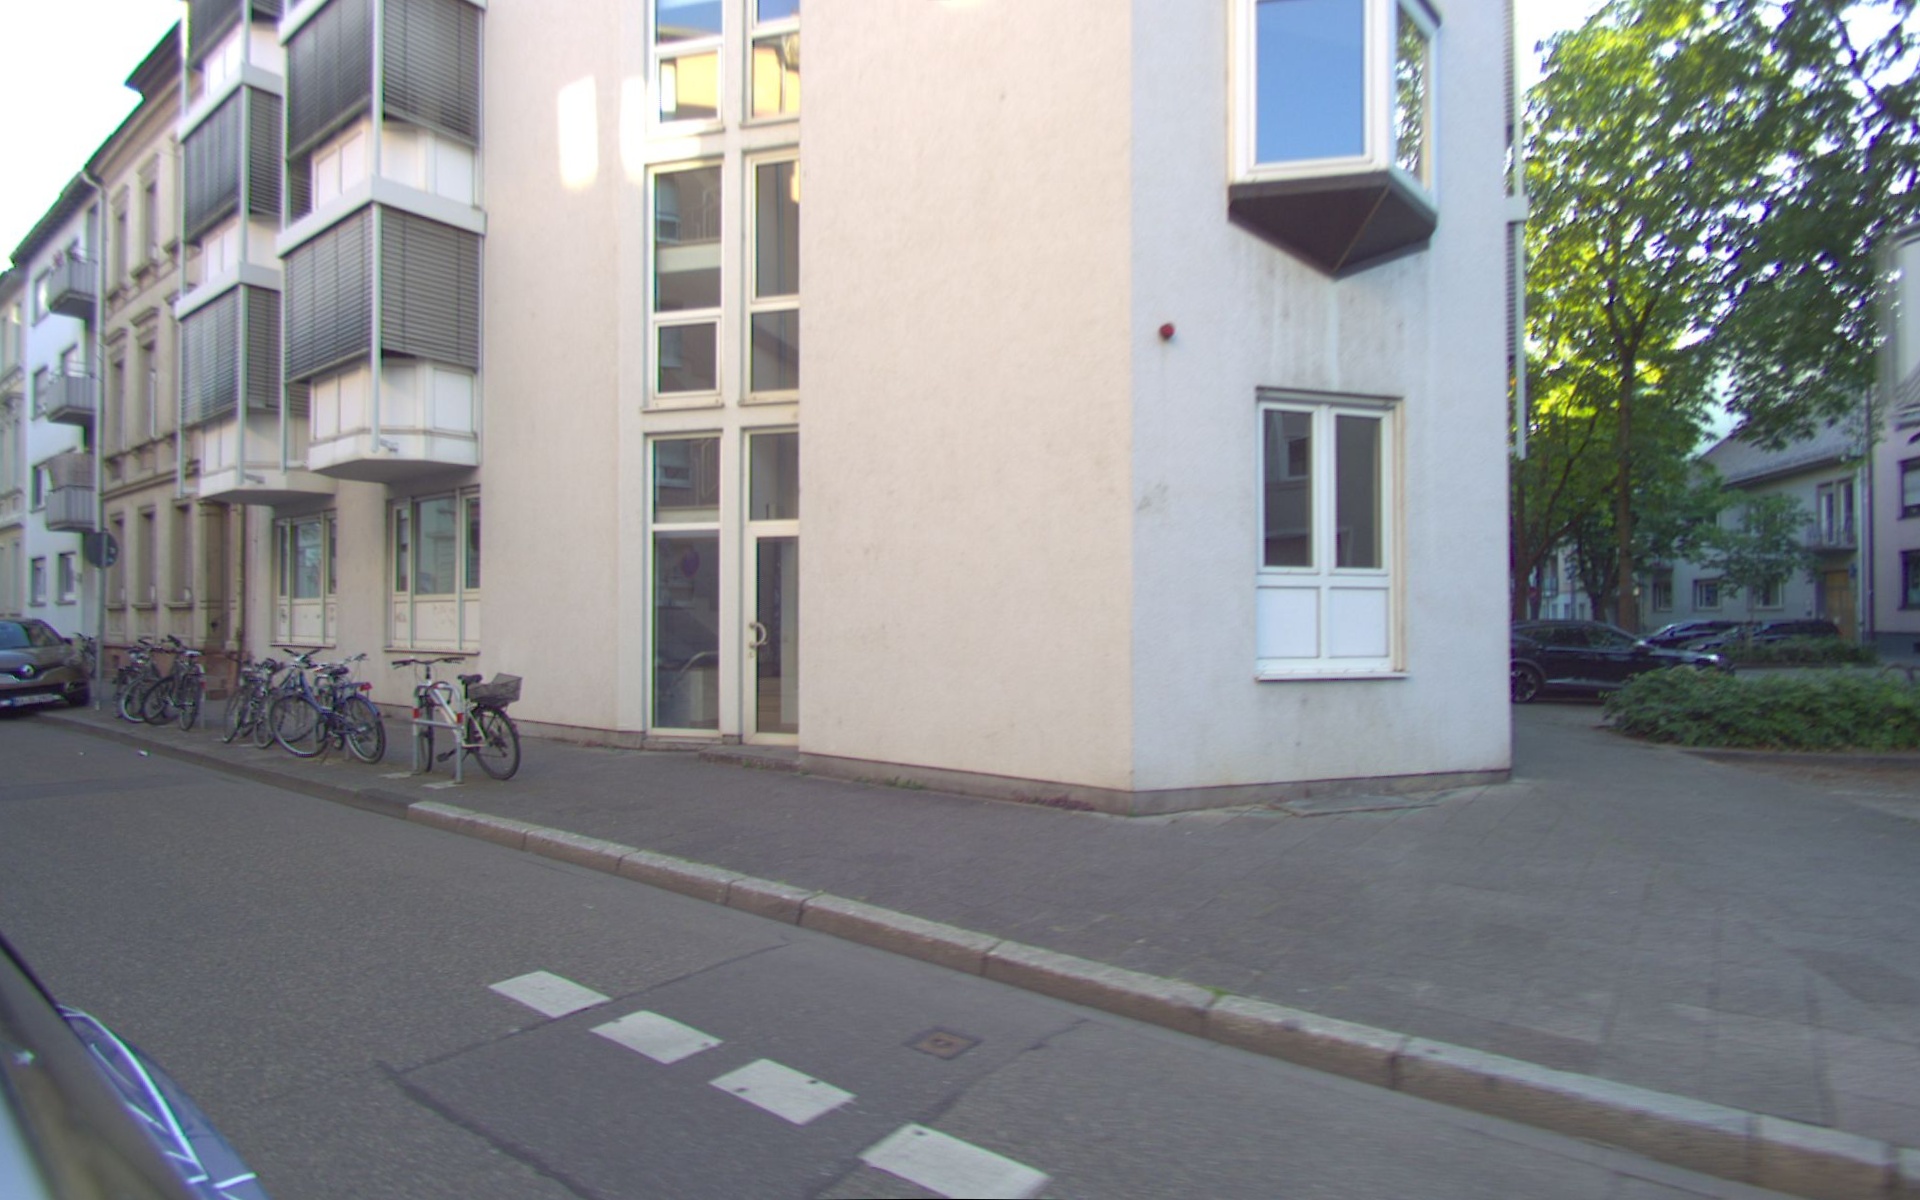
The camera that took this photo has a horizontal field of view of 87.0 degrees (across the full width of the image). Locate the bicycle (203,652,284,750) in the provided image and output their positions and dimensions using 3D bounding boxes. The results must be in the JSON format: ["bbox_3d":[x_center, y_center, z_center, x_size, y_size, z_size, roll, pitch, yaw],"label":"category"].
[{"bbox_3d":[-8.382,1.141,11.815,1.811,1.050,0.304,-2,-2,39],"label":"bicycle"}]

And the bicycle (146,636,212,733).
[{"bbox_3d":[-10.520,1.106,13.606,1.811,1.232,0.304,-2,-2,39],"label":"bicycle"}]

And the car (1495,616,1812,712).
[{"bbox_3d":[12.263,1.091,18.241,4.332,1.520,1.825,1,-1,16],"label":"car"}]

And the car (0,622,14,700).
[{"bbox_3d":[-21.243,1.260,20.875,4.426,1.551,1.774,-2,-2,37],"label":"car"}]

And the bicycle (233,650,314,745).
[{"bbox_3d":[-8.260,1.141,12.156,1.811,1.050,0.304,-2,-2,39],"label":"bicycle"}]

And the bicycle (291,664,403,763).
[{"bbox_3d":[-6.453,1.156,10.621,1.809,0.939,0.304,-2,-2,35],"label":"bicycle"}]

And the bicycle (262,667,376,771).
[{"bbox_3d":[-6.527,1.172,10.267,1.808,0.939,0.304,-2,-2,35],"label":"bicycle"}]

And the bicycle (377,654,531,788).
[{"bbox_3d":[-4.671,1.069,9.293,1.807,1.111,0.397,-2,-1,32],"label":"bicycle"}]

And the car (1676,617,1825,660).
[{"bbox_3d":[27.146,1.327,34.864,3.633,1.403,1.558,-1,-2,14],"label":"car"}]

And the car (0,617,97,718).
[{"bbox_3d":[-16.561,1.109,17.388,4.063,1.588,1.774,-2,-2,37],"label":"car"}]

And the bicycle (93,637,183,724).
[{"bbox_3d":[-12.176,1.152,14.959,2.263,1.196,0.589,-2,-1,39],"label":"bicycle"}]
